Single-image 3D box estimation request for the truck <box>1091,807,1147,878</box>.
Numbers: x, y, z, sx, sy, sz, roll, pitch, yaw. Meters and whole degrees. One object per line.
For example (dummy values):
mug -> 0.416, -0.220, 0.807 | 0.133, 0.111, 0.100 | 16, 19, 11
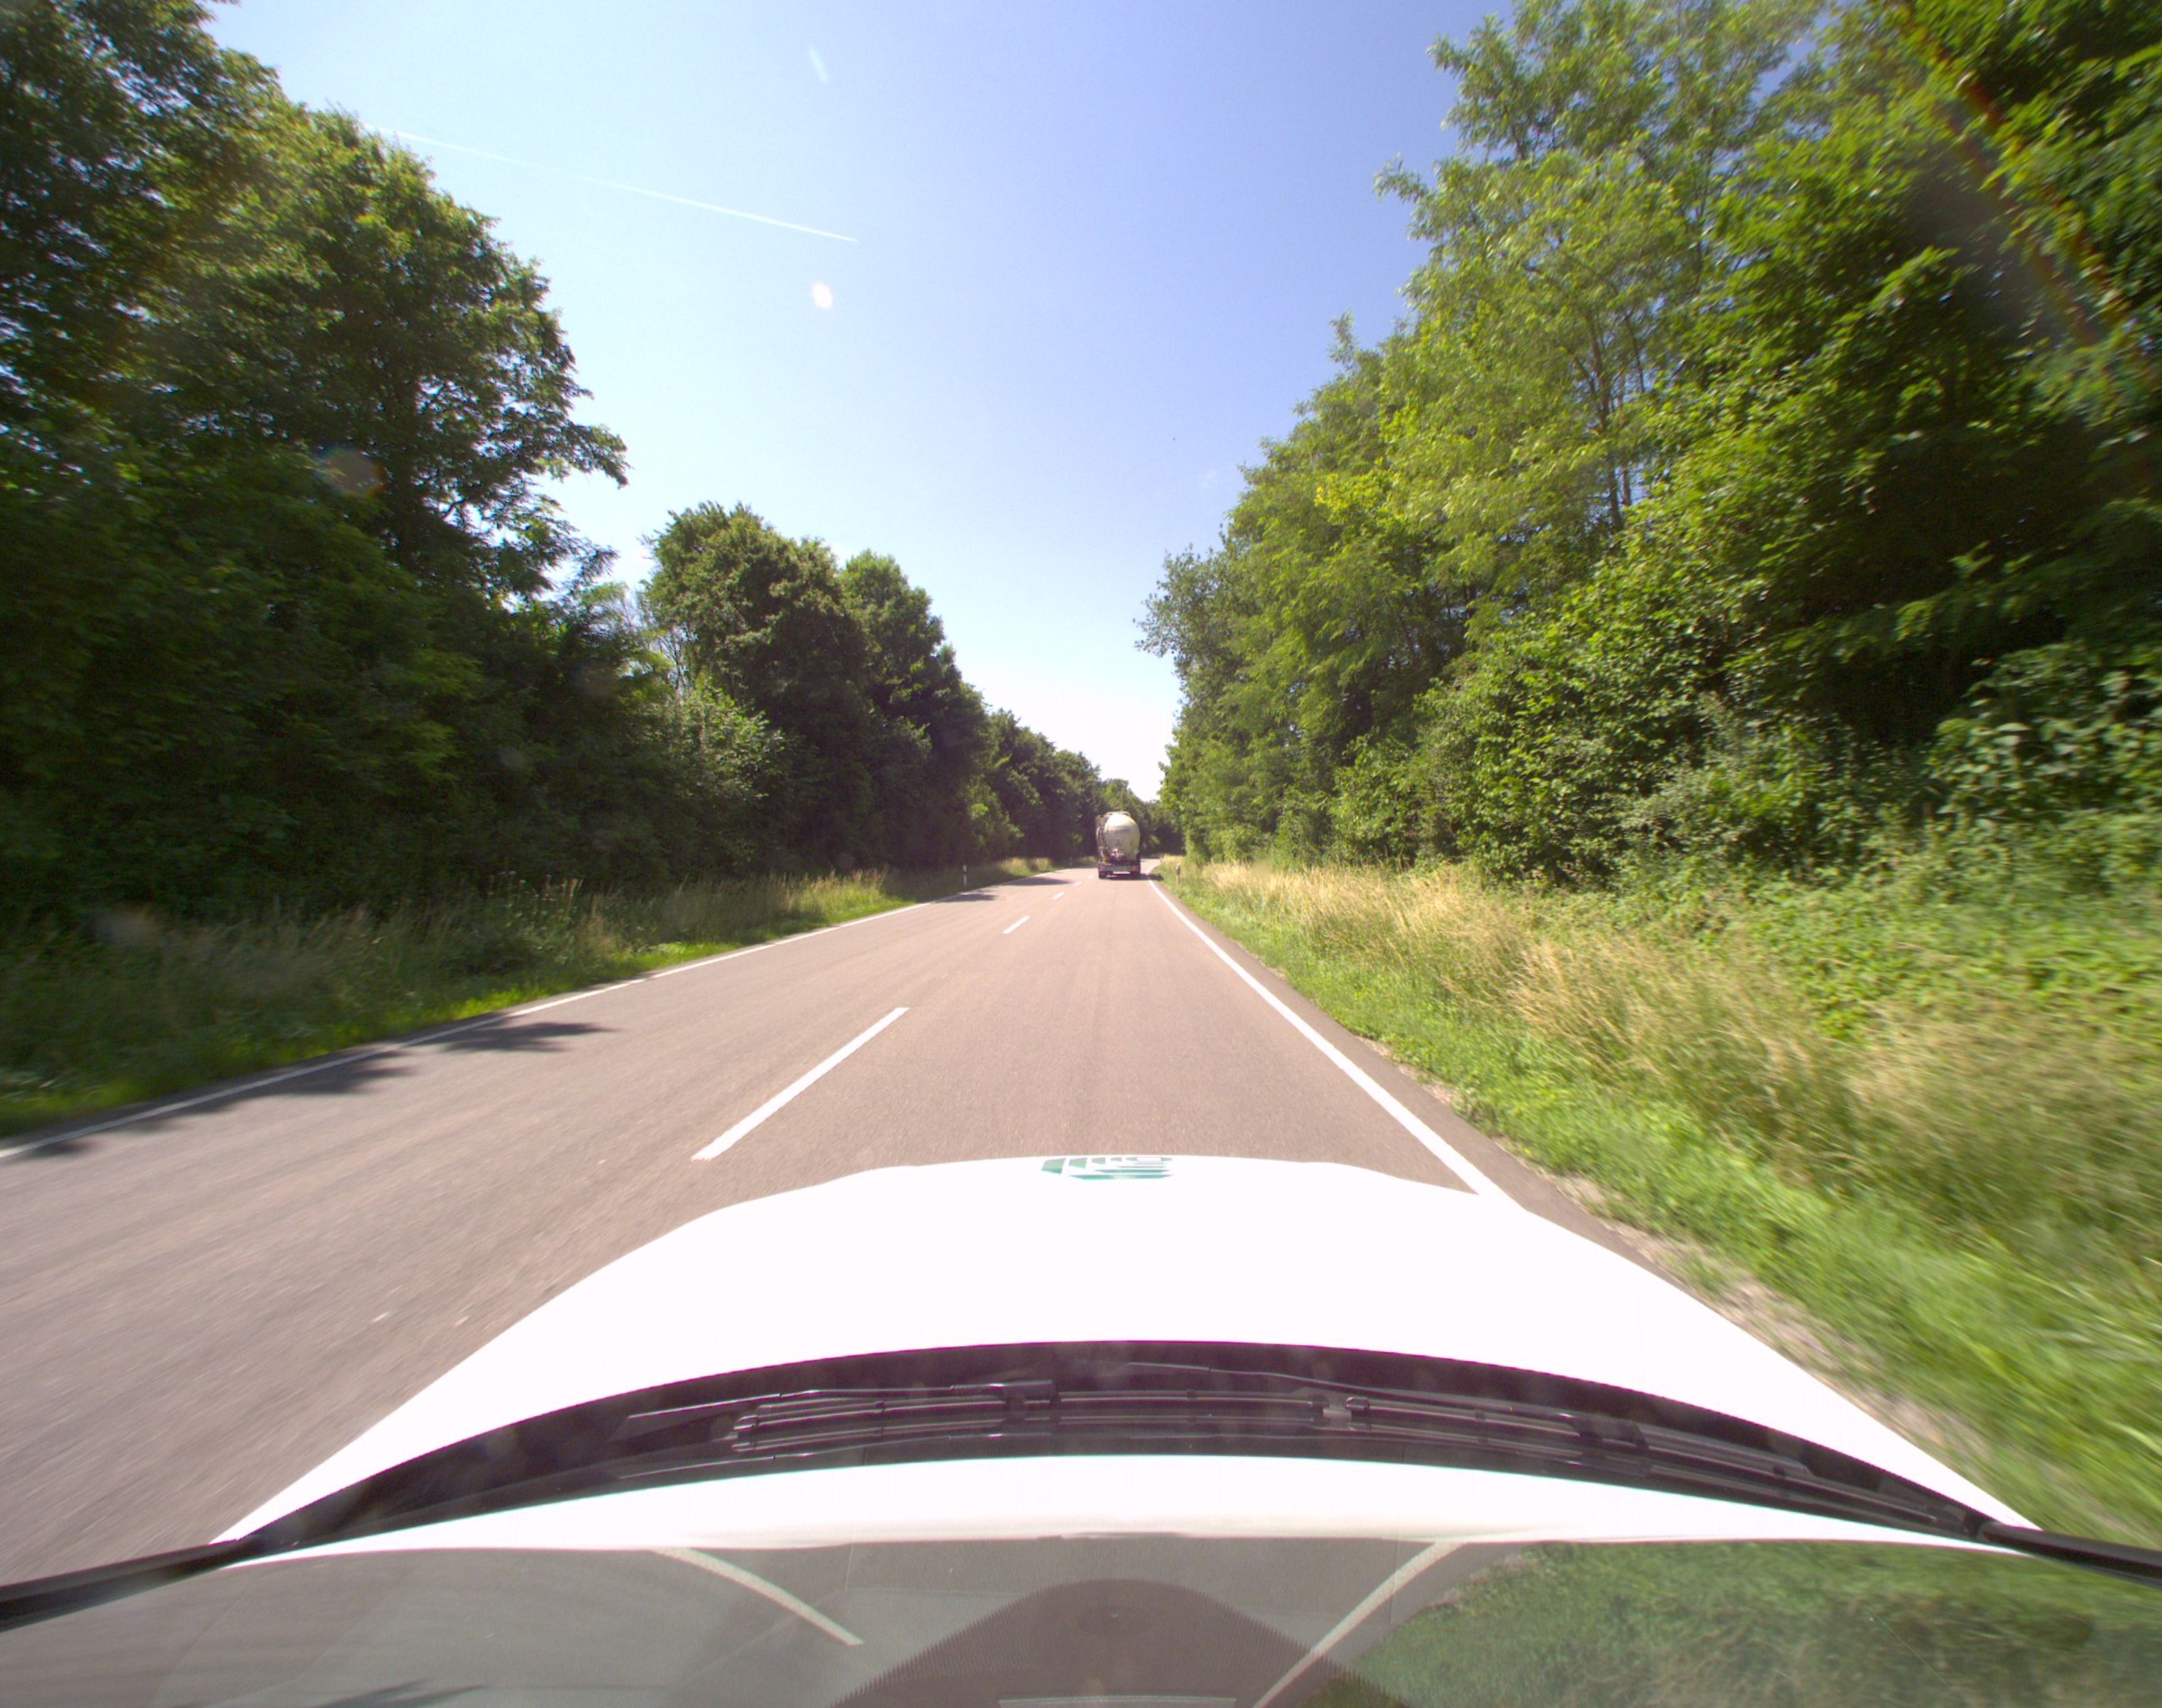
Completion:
truck -> 2.268, -0.657, 53.915 | 3.039, 3.998, 15.635 | 0, 0, 0
